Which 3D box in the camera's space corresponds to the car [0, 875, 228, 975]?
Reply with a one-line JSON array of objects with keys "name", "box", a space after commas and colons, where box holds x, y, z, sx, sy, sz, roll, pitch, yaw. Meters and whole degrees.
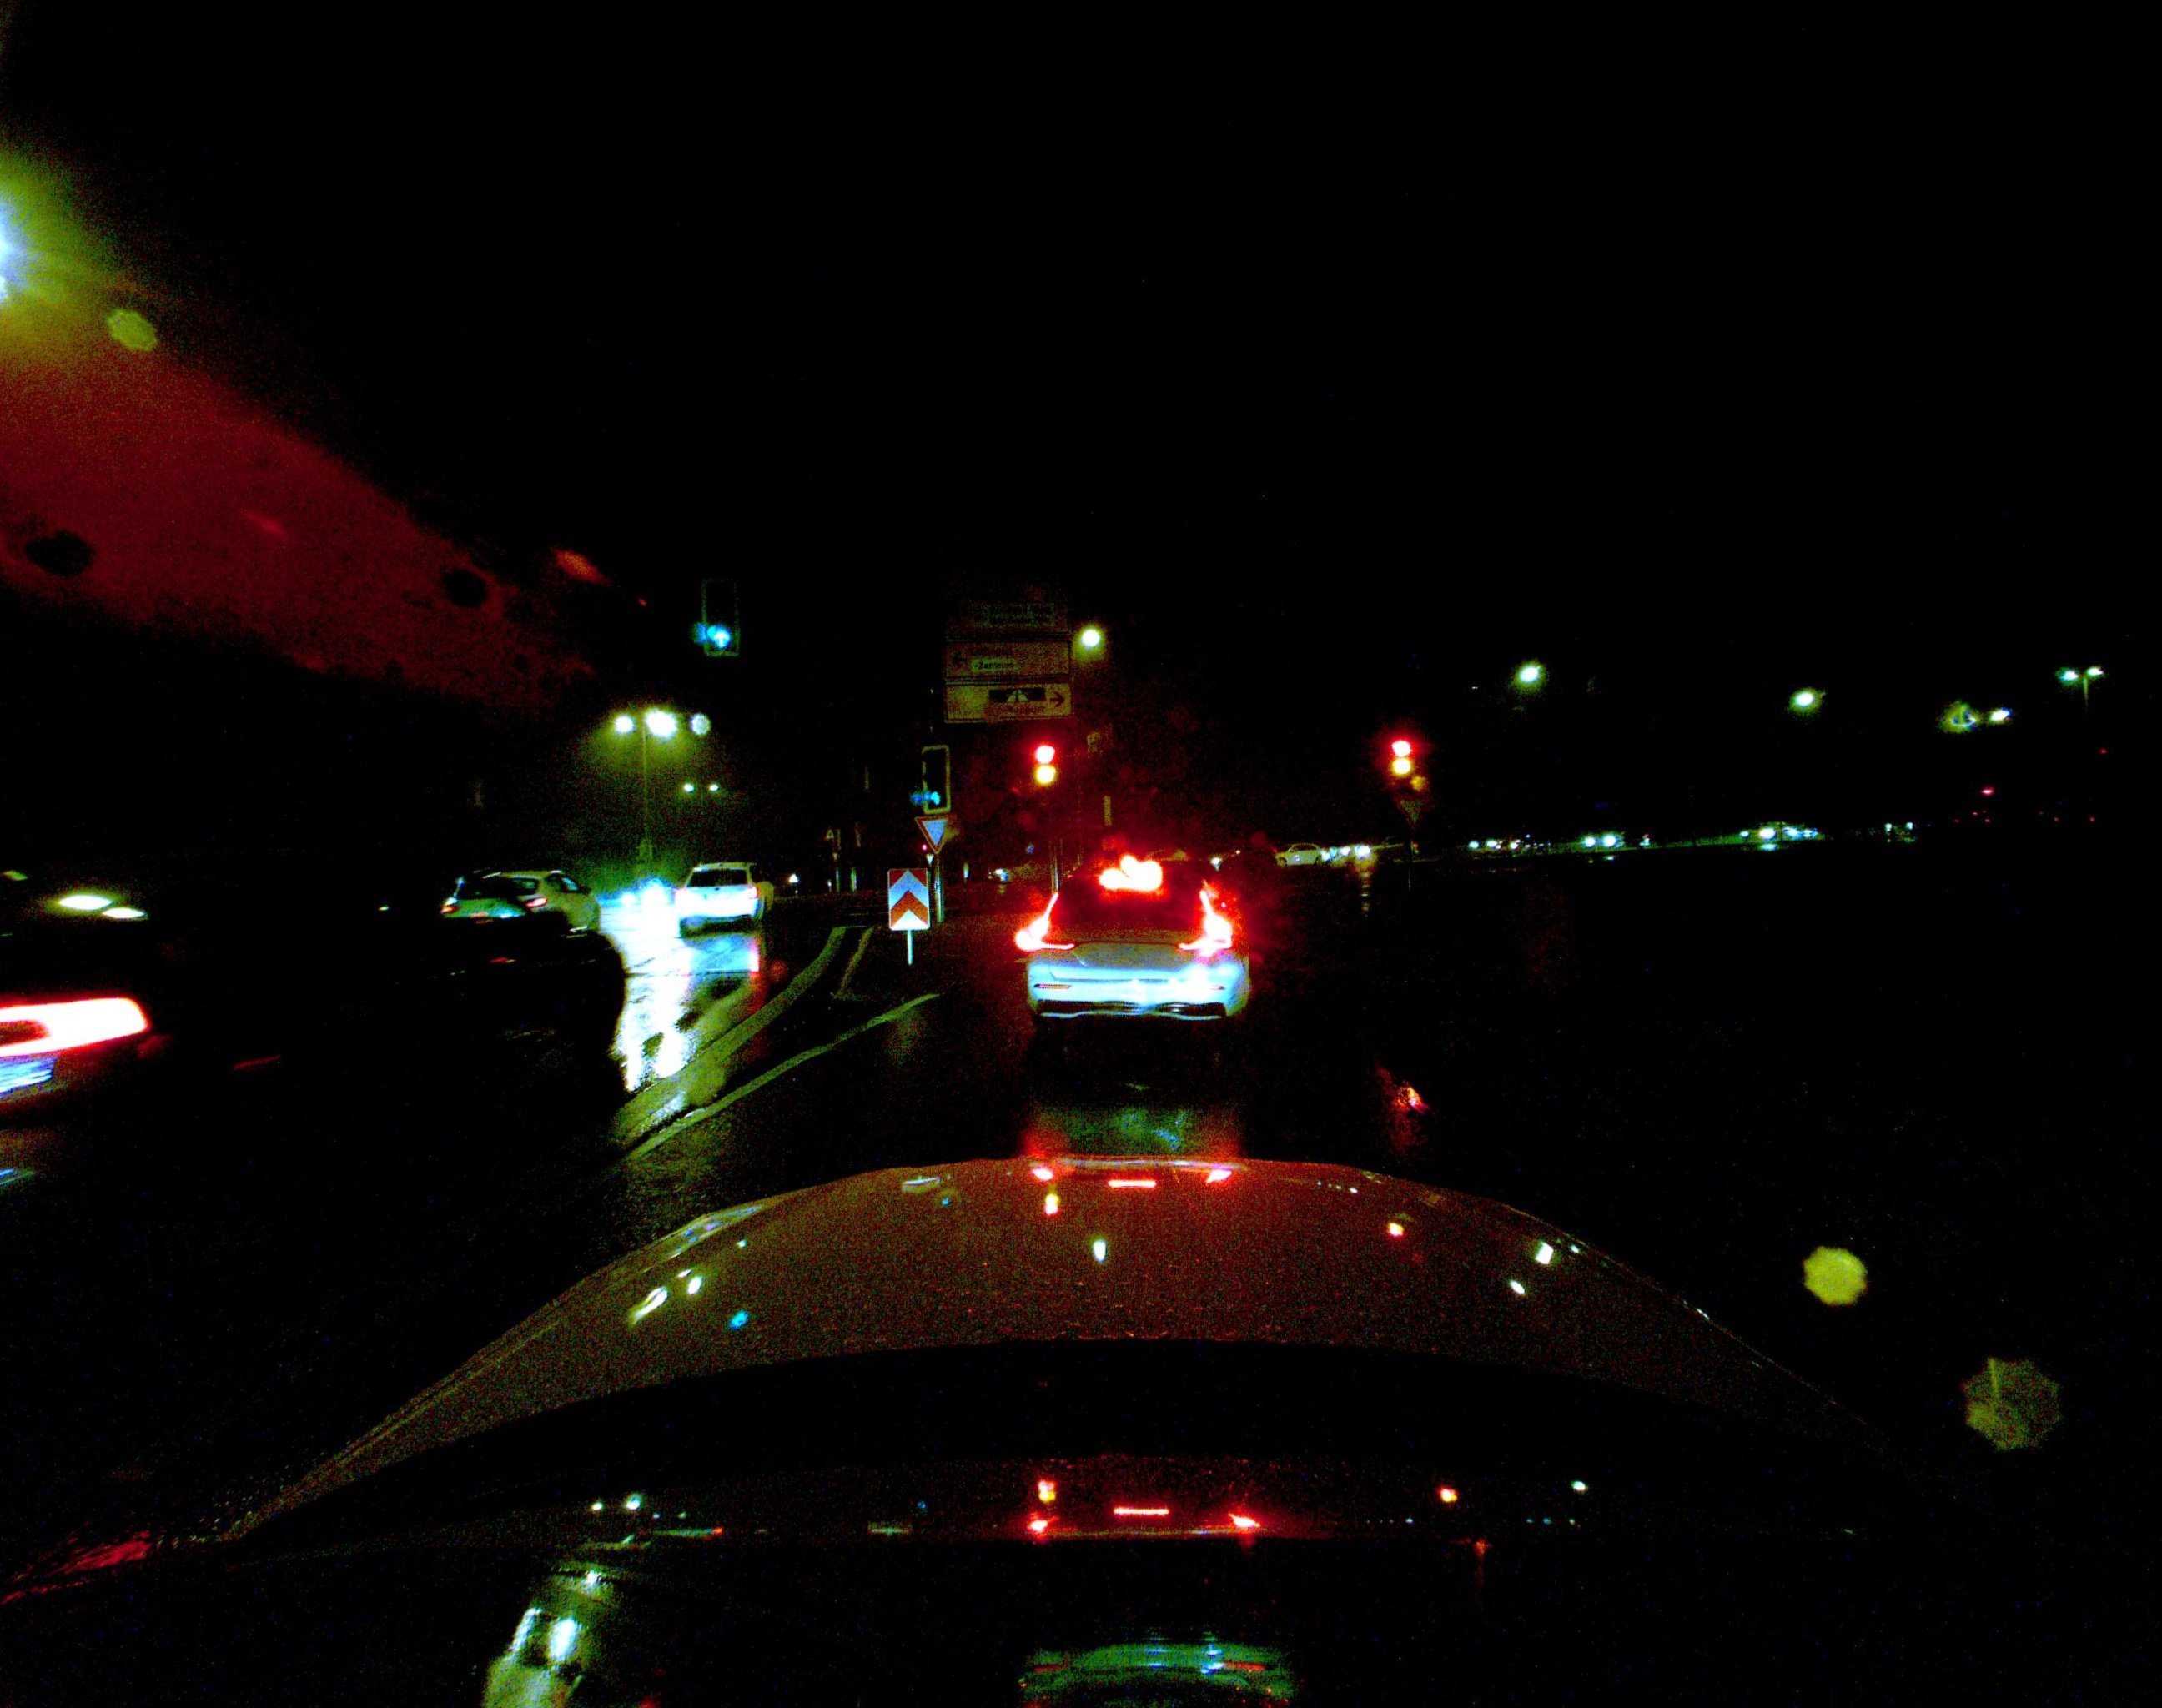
[{"name": "car", "box": [-20.572, 1.376, 16.753, 1.902, 1.720, 4.441, -3, 0, -12]}]

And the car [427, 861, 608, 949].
[{"name": "car", "box": [-10.710, 0.899, 15.813, 1.658, 1.445, 3.772, -2, -1, -15]}]

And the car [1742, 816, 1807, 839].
[{"name": "car", "box": [50.049, -1.906, 58.775, 4.417, 1.484, 1.769, -2, -1, -23]}]

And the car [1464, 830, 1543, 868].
[{"name": "car", "box": [31.683, -0.388, 61.090, 5.617, 2.710, 2.238, -1, -1, -24]}]

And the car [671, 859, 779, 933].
[{"name": "car", "box": [-8.198, 0.911, 19.092, 1.703, 1.463, 4.291, -2, -1, -16]}]

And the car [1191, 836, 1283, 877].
[{"name": "car", "box": [7.335, 0.093, 38.366, 3.906, 1.725, 1.752, -2, 0, -23]}]

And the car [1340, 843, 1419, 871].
[{"name": "car", "box": [16.844, 0.182, 45.958, 4.060, 1.487, 1.706, -1, -1, -21]}]

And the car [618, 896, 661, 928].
[{"name": "car", "box": [-31.438, 4.091, 58.106, 1.816, 2.014, 3.980, -1, -1, -15]}]

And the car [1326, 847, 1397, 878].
[{"name": "car", "box": [17.524, 0.508, 50.881, 4.131, 1.848, 1.751, -1, -1, -25]}]

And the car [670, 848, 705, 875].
[{"name": "car", "box": [-31.309, 0.609, 64.871, 1.779, 2.079, 3.978, 0, -1, -16]}]

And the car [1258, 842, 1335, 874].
[{"name": "car", "box": [12.734, 0.252, 48.073, 4.257, 1.799, 1.789, -1, -1, -25]}]

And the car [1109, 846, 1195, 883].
[{"name": "car", "box": [3.841, 0.546, 43.725, 4.292, 1.848, 1.751, -1, -1, -25]}]

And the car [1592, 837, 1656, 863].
[{"name": "car", "box": [36.908, -0.285, 55.334, 3.983, 1.666, 1.789, -1, -1, -25]}]

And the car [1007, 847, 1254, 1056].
[{"name": "car", "box": [0.768, 0.691, 8.035, 1.784, 1.452, 4.283, -1, 1, 11]}]

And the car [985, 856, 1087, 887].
[{"name": "car", "box": [-2.252, 0.851, 40.927, 4.810, 1.427, 1.751, -1, -1, -24]}]

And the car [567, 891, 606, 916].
[{"name": "car", "box": [-40.202, 4.026, 66.338, 1.774, 1.772, 3.976, -1, -1, -17]}]

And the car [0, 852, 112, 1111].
[{"name": "car", "box": [-7.644, 0.822, 3.767, 1.910, 1.658, 3.972, -2, -1, -10]}]

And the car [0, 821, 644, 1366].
[{"name": "car", "box": [-4.345, 0.738, 4.569, 1.827, 1.653, 4.468, -2, 0, -8]}]

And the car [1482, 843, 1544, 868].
[{"name": "car", "box": [30.663, 0.095, 57.746, 4.131, 1.714, 1.751, -1, -1, -25]}]
